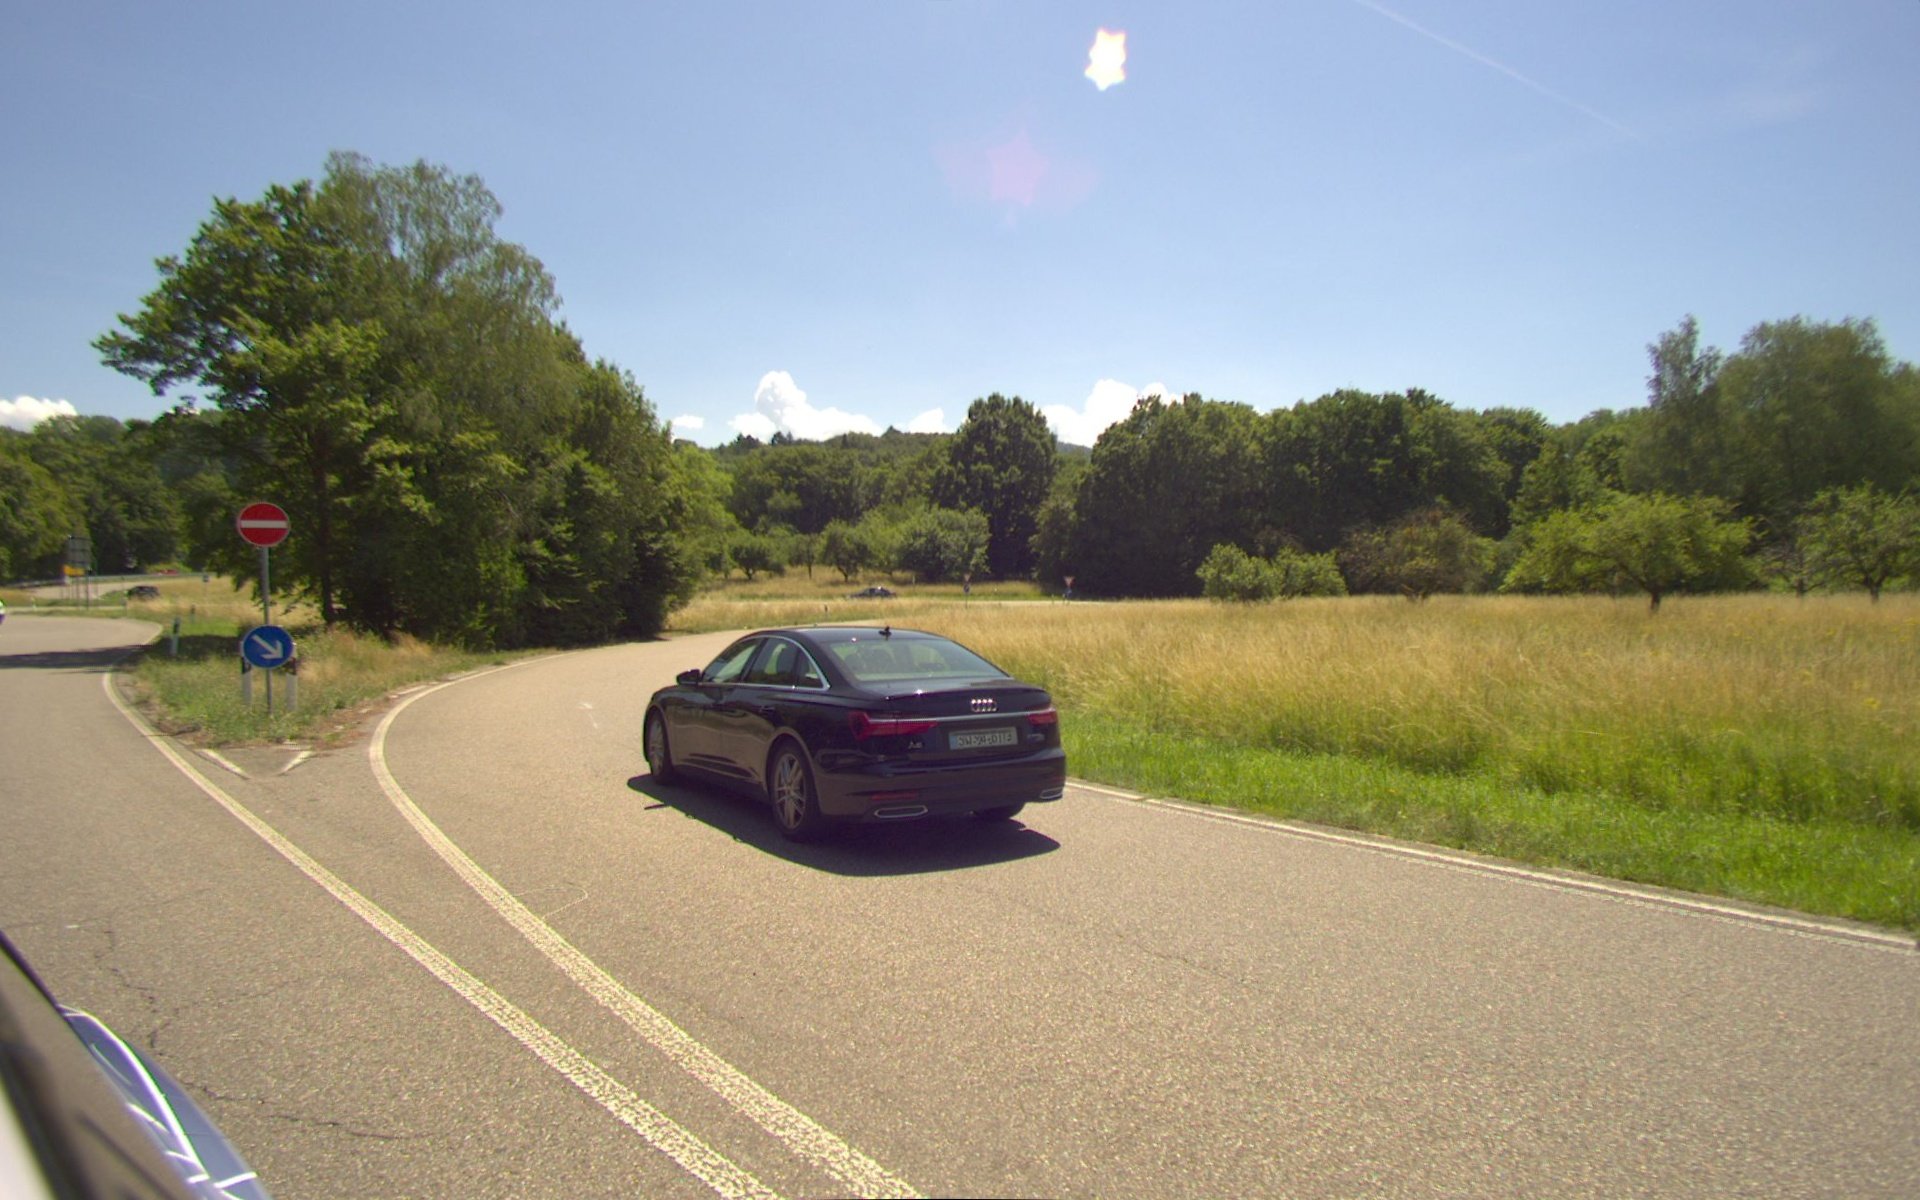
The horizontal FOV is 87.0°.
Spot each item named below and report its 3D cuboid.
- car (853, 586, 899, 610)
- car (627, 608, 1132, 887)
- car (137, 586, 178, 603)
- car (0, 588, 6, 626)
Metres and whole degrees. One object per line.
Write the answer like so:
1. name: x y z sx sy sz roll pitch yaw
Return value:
1. car: -7.442 -0.194 89.910 3.936 2.028 2.004 0 2 -8
2. car: -0.964 0.868 7.948 1.778 1.518 4.669 2 -2 -36
3. car: -69.870 -0.473 88.121 2.937 1.337 1.463 1 2 18
4. car: -54.854 0.406 55.470 5.404 2.048 2.204 -1 0 29
